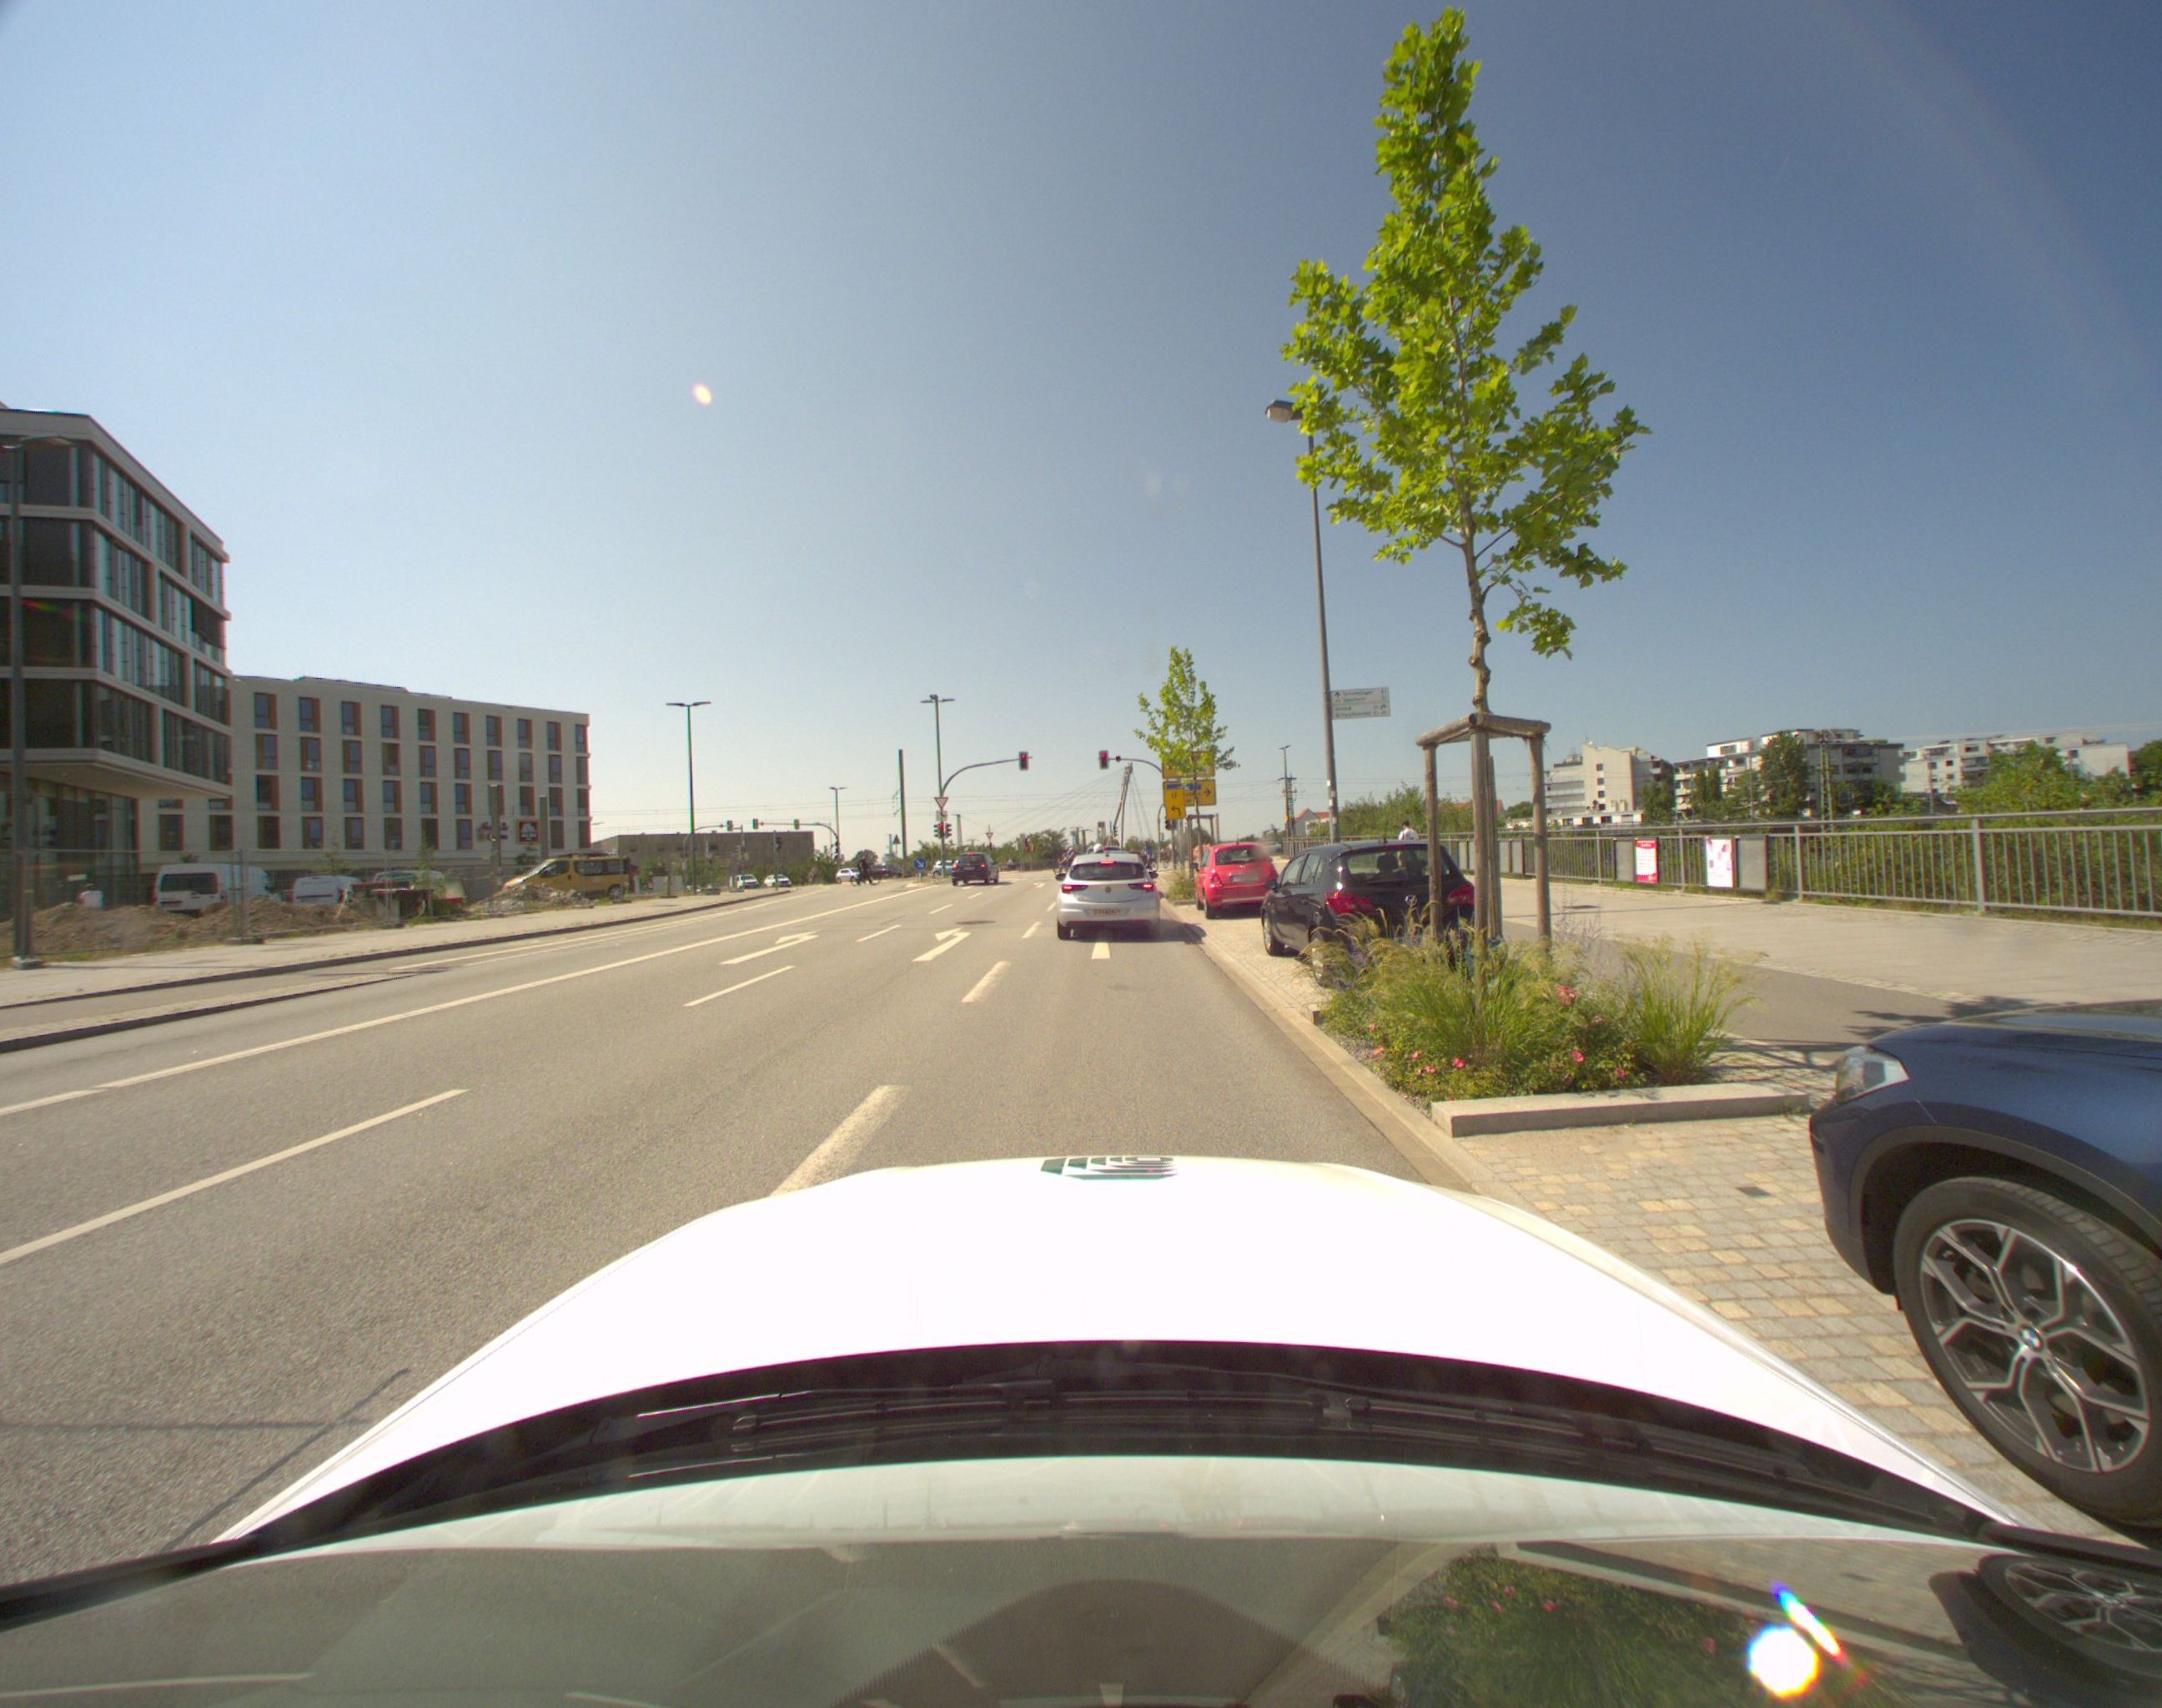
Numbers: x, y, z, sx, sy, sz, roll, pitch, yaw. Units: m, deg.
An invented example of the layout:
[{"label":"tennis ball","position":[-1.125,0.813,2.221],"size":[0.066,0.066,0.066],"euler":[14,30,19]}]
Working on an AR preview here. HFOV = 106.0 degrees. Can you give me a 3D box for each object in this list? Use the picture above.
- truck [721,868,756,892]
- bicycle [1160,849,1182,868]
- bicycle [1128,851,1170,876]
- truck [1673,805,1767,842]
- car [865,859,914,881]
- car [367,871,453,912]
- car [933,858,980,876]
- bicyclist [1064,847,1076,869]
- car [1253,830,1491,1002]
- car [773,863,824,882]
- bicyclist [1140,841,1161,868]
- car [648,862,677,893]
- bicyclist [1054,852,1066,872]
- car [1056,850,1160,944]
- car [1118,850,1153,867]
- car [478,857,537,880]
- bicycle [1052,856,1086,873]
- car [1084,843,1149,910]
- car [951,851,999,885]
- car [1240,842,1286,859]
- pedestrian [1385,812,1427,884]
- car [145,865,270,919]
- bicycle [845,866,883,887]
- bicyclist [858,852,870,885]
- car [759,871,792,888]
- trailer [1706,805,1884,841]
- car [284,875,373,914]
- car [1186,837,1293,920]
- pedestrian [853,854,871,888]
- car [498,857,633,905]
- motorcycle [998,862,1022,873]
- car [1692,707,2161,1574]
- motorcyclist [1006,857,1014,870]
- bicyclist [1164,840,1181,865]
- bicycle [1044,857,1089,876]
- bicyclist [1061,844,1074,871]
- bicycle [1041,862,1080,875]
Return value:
[{"label":"truck","position":[-37.895,2.882,90.167],"size":[2.011,2.540,4.651],"euler":[-1,-1,-44]},{"label":"bicycle","position":[5.601,0.295,50.404],"size":[0.669,1.127,2.378],"euler":[-1,-1,23]},{"label":"bicycle","position":[4.002,0.535,47.753],"size":[2.547,1.133,0.720],"euler":[-8,3,-41]},{"label":"truck","position":[60.035,-2.836,76.620],"size":[6.477,3.204,3.722],"euler":[-1,-1,-13]},{"label":"car","position":[-16.804,1.399,71.594],"size":[3.727,1.582,1.818],"euler":[-2,3,7]},{"label":"car","position":[-30.478,1.640,37.129],"size":[2.005,1.707,4.521],"euler":[0,-1,-26]},{"label":"car","position":[-11.194,1.173,73.079],"size":[3.763,1.362,1.538],"euler":[-3,0,13]},{"label":"bicyclist","position":[-0.762,0.259,56.177],"size":[0.715,1.504,0.825],"euler":[-1,-1,3]},{"label":"car","position":[3.216,0.591,9.738],"size":[1.575,1.555,3.549],"euler":[-5,0,2]},{"label":"car","position":[-25.548,1.644,73.735],"size":[3.958,1.551,1.677],"euler":[-3,-1,2]},{"label":"bicyclist","position":[4.075,0.031,47.827],"size":[0.829,1.560,0.853],"euler":[0,-1,-40]},{"label":"car","position":[-28.245,1.555,54.974],"size":[1.679,2.014,3.964],"euler":[0,-1,-28]},{"label":"bicyclist","position":[-1.225,0.476,47.436],"size":[0.654,1.175,0.731],"euler":[-1,-1,3]},{"label":"car","position":[0.516,0.704,15.534],"size":[1.684,1.520,4.273],"euler":[-1,0,2]},{"label":"car","position":[5.629,0.466,84.661],"size":[3.379,1.655,1.643],"euler":[-1,-1,-9]},{"label":"car","position":[-52.716,1.337,74.950],"size":[3.989,2.014,1.992],"euler":[-1,-1,-12]},{"label":"bicycle","position":[-0.822,0.718,56.159],"size":[2.309,1.133,0.637],"euler":[-2,0,2]},{"label":"car","position":[0.949,0.590,22.411],"size":[1.628,1.674,3.746],"euler":[0,-1,2]},{"label":"car","position":[-4.710,0.599,36.467],"size":[1.581,1.395,3.341],"euler":[-2,-1,2]},{"label":"car","position":[18.922,-0.321,84.841],"size":[4.253,1.673,1.990],"euler":[-1,0,-15]},{"label":"pedestrian","position":[8.459,-0.139,21.224],"size":[0.755,1.830,0.885],"euler":[-1,-1,2]},{"label":"car","position":[-35.704,1.485,33.456],"size":[2.220,2.056,4.134],"euler":[0,-1,-28]},{"label":"bicycle","position":[-12.529,1.288,47.128],"size":[2.083,1.178,0.553],"euler":[-1,-1,-13]},{"label":"bicyclist","position":[-12.567,0.848,47.121],"size":[0.594,1.887,0.634],"euler":[0,-1,-12]},{"label":"car","position":[-34.595,2.908,92.131],"size":[3.996,1.815,1.943],"euler":[-1,0,45]},{"label":"trailer","position":[69.082,-2.925,78.799],"size":[17.222,3.204,3.724],"euler":[-1,-1,-14]},{"label":"car","position":[-32.858,1.726,35.690],"size":[1.809,1.508,3.965],"euler":[0,-1,-26]},{"label":"car","position":[3.403,0.497,18.175],"size":[1.663,1.540,3.918],"euler":[-4,-1,2]},{"label":"pedestrian","position":[-12.343,0.966,45.839],"size":[0.736,1.863,0.754],"euler":[-1,-1,4]},{"label":"car","position":[-21.996,1.110,34.898],"size":[1.974,1.890,4.514],"euler":[-1,-1,40]},{"label":"motorcycle","position":[-8.001,1.502,91.819],"size":[2.527,1.233,0.648],"euler":[-1,-1,1]},{"label":"car","position":[2.918,0.498,0.554],"size":[1.797,1.683,4.272],"euler":[-4,-1,2]},{"label":"motorcyclist","position":[-7.998,1.051,91.819],"size":[0.806,1.476,0.885],"euler":[-1,-1,2]},{"label":"bicyclist","position":[5.670,-0.087,50.608],"size":[0.813,1.569,0.953],"euler":[-1,-1,23]},{"label":"bicycle","position":[-0.804,0.737,46.542],"size":[2.494,1.007,0.606],"euler":[-2,0,2]},{"label":"bicyclist","position":[-0.775,0.209,46.551],"size":[0.654,1.502,0.844],"euler":[-1,-1,3]},{"label":"bicycle","position":[-1.177,0.869,47.426],"size":[2.237,0.692,0.516],"euler":[-2,0,2]}]
